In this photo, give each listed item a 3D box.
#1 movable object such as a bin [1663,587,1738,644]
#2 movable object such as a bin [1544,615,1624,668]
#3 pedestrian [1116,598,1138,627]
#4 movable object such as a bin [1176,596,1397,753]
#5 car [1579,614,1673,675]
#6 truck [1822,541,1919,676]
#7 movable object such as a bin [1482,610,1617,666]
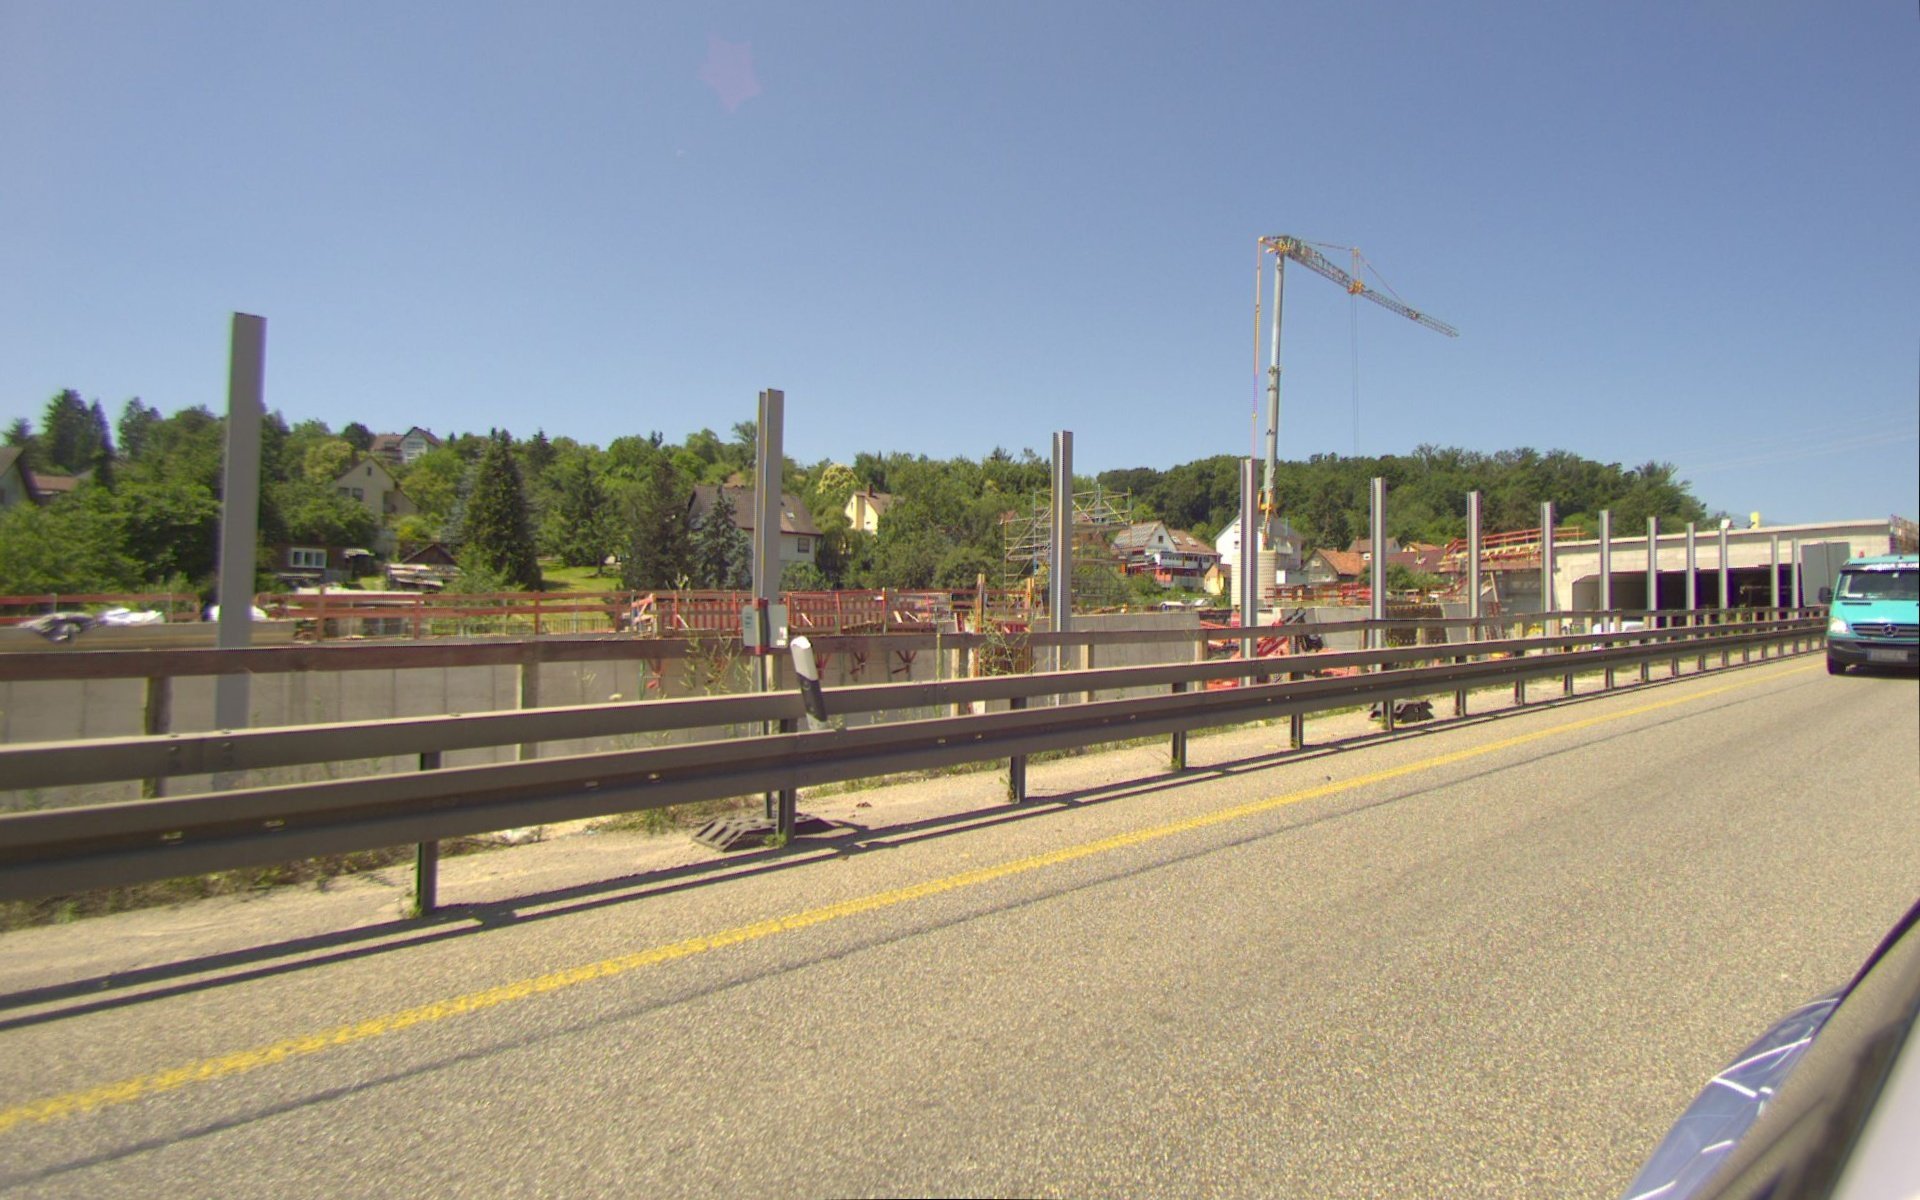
[{"bbox_3d":[58.546,1.130,79.905,8.999,4.113,2.958,-2,1,-42],"label":"movable object such as a bin"},{"bbox_3d":[36.394,2.344,58.970,5.399,2.710,2.151,-2,1,-37],"label":"movable object such as a bin"},{"bbox_3d":[11.519,0.854,69.897,0.955,2.012,1.140,-1,1,-37],"label":"pedestrian"},{"bbox_3d":[12.036,2.356,36.629,9.490,4.802,3.232,-2,1,-42],"label":"movable object such as a bin"},{"bbox_3d":[36.497,2.326,55.349,6.895,2.891,2.150,-2,1,-38],"label":"car"},{"bbox_3d":[19.552,0.051,20.471,7.304,2.386,2.138,-2,1,-41],"label":"truck"},{"bbox_3d":[39.911,2.648,68.831,3.425,2.941,7.159,-1,-8,-19],"label":"movable object such as a bin"}]
